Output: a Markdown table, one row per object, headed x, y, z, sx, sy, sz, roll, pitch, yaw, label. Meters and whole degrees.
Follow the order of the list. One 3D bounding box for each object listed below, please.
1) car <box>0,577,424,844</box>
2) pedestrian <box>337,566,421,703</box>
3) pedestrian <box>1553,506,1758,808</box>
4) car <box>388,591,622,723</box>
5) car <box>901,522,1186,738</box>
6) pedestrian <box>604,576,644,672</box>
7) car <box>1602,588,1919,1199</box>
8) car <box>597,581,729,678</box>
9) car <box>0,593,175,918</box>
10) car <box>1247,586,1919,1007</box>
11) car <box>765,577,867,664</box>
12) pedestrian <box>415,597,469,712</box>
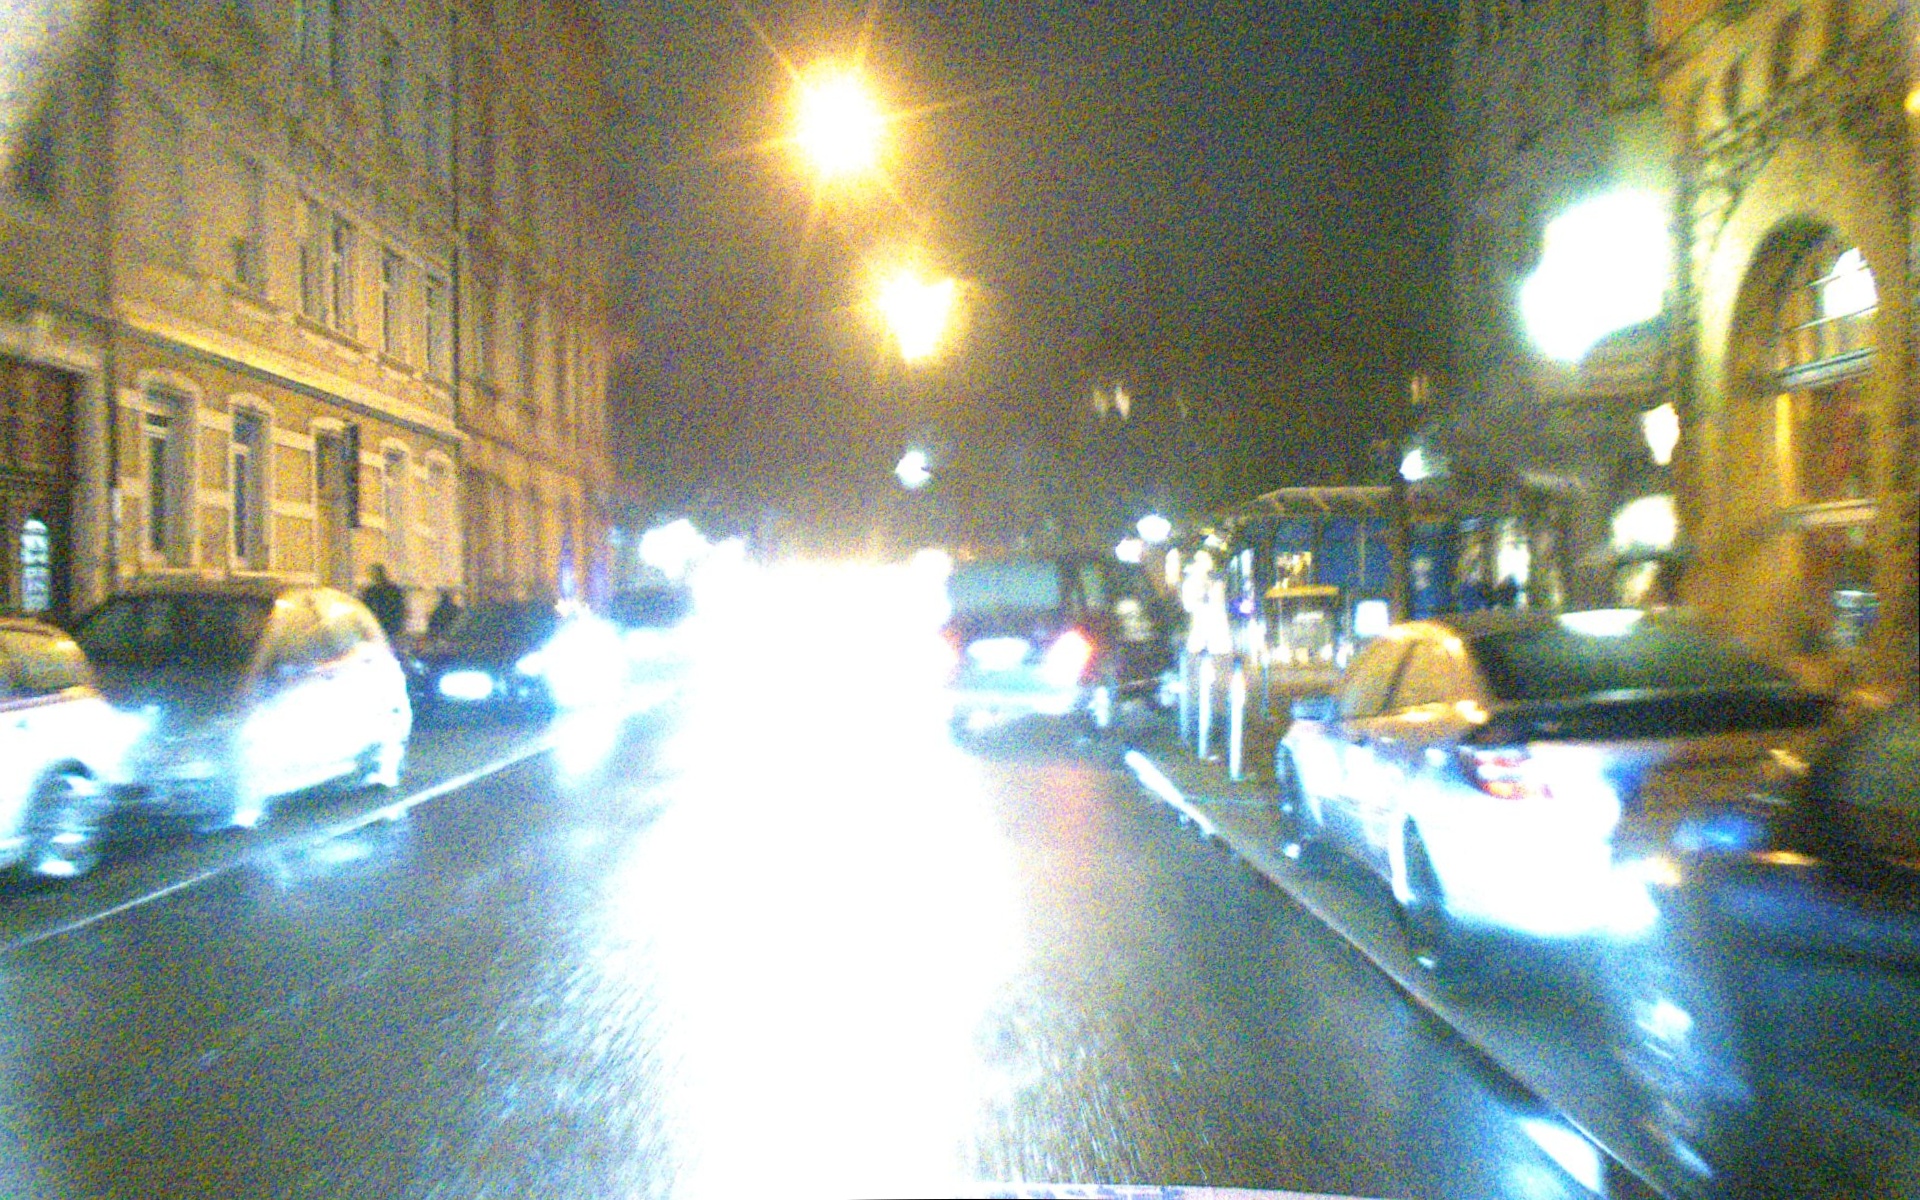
| x | y | z | sx | sy | sz | roll | pitch | yaw | label |
| --- | --- | --- | --- | --- | --- | --- | --- | --- | --- |
| -5.312 | 0.676 | 11.951 | 1.710 | 1.616 | 3.765 | 0 | 0 | -1 | car |
| -8.045 | 0.466 | 22.933 | 0.727 | 1.836 | 0.987 | 2 | -1 | 2 | pedestrian |
| 4.464 | 0.340 | 10.698 | 0.844 | 1.819 | 1.083 | -2 | 1 | 2 | pedestrian |
| -5.686 | 0.655 | 21.261 | 1.795 | 1.512 | 4.593 | 0 | 0 | -1 | car |
| 1.100 | 0.287 | 18.504 | 1.954 | 2.085 | 4.695 | 0 | 0 | 19 | car |
| -7.172 | 0.505 | 35.333 | 0.642 | 2.008 | 0.770 | 2 | -1 | 0 | pedestrian |
| 2.659 | 0.728 | 2.645 | 1.655 | 1.524 | 3.890 | -1 | 0 | -2 | car |
| -5.665 | 0.535 | 32.052 | 1.795 | 1.747 | 4.593 | 0 | 0 | -1 | car |
| -5.345 | 0.726 | 7.269 | 1.795 | 1.507 | 4.306 | 0 | 0 | -1 | car |
| 2.704 | 0.680 | 7.783 | 1.879 | 1.436 | 3.998 | -1 | 0 | -2 | car |
| -2.961 | 0.395 | 34.899 | 1.882 | 1.646 | 4.572 | -2 | 0 | -2 | car |
| -7.283 | 0.764 | 23.295 | 0.645 | 1.579 | 0.759 | 2 | -1 | -16 | pedestrian |
